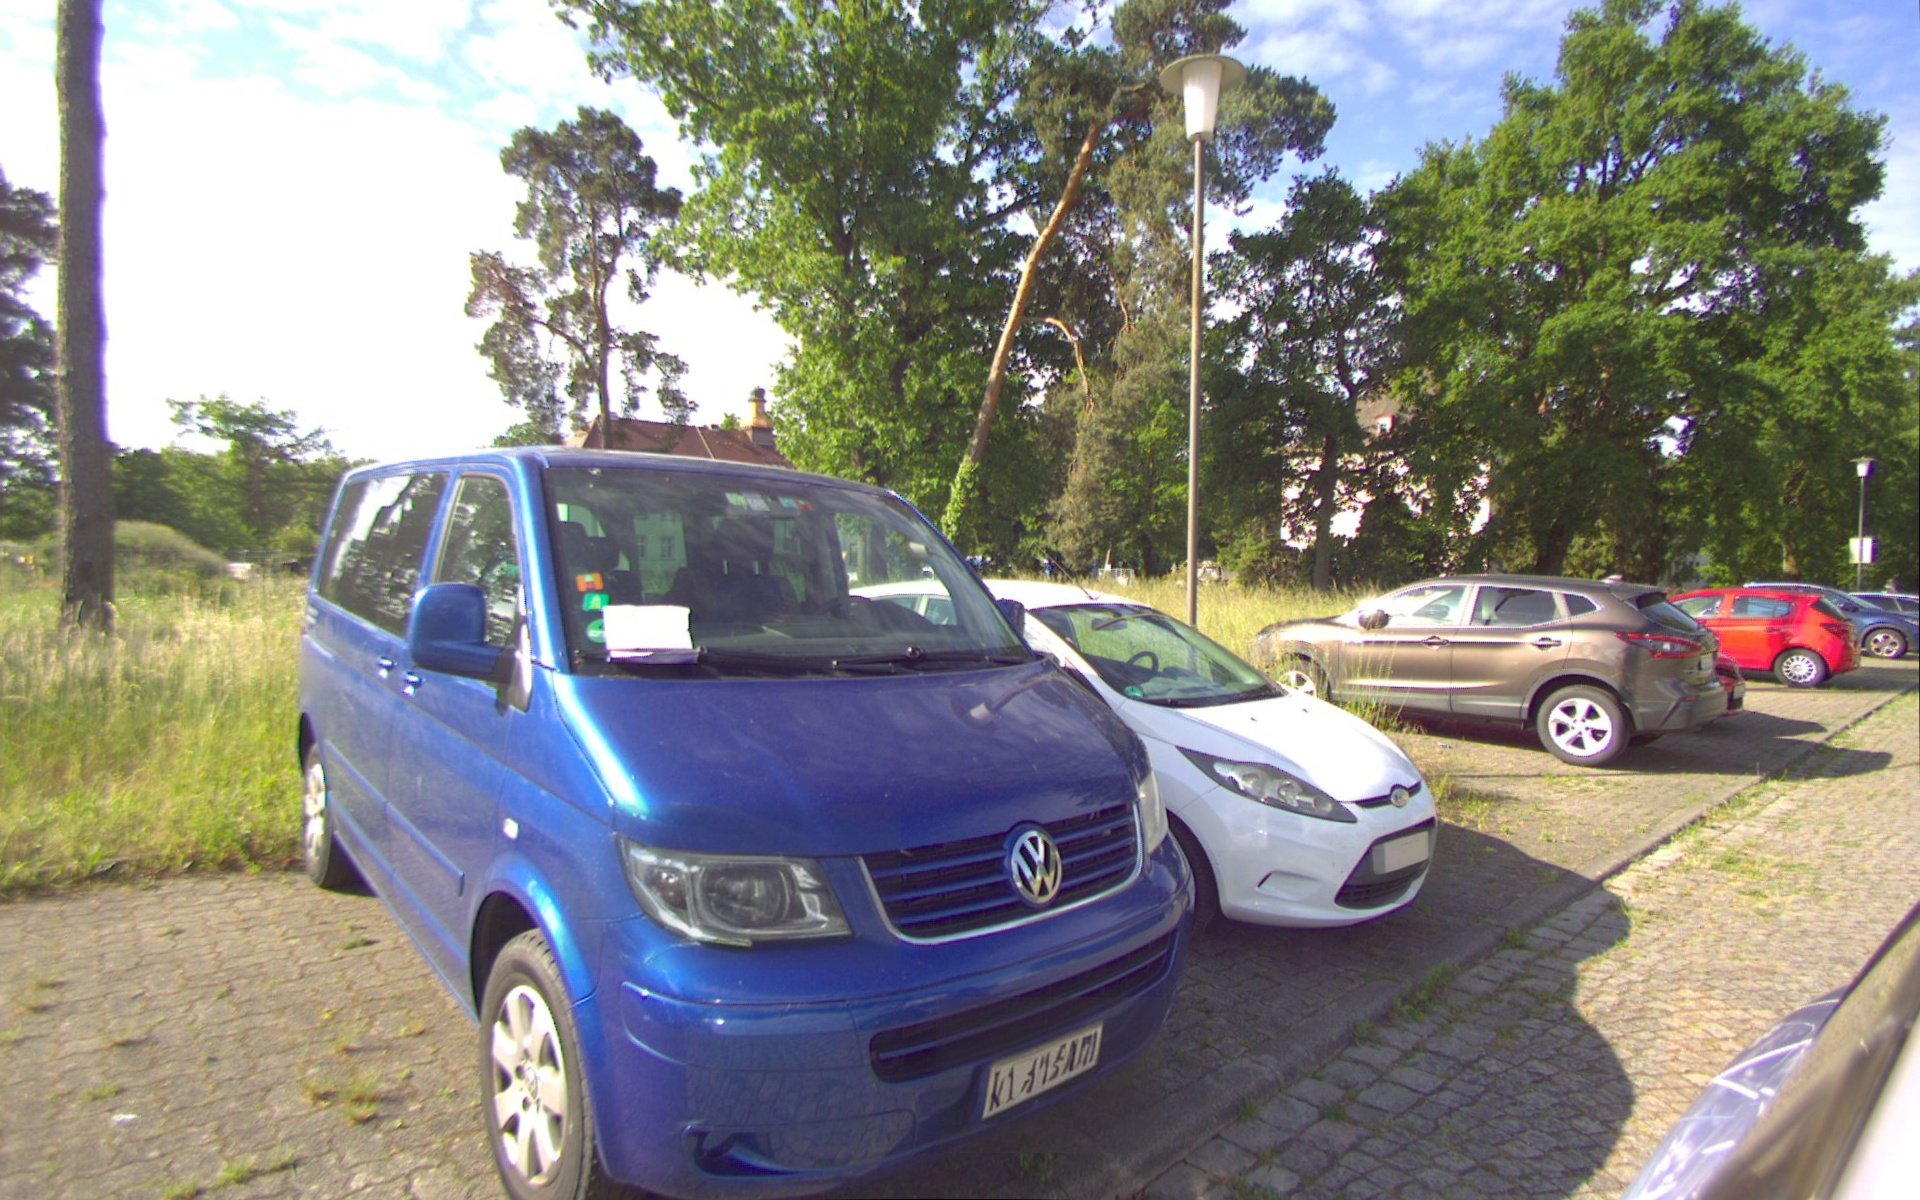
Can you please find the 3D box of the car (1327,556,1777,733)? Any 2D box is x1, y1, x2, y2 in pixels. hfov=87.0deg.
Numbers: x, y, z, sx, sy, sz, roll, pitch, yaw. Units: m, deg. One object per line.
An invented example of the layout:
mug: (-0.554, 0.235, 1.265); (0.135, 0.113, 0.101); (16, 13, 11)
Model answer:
car: (6.853, 0.346, 12.053); (1.903, 1.617, 4.231); (-1, 4, -43)

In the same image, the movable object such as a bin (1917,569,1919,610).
movable object such as a bin: (50.423, -0.476, 49.491); (1.959, 2.039, 4.881); (0, 1, -28)

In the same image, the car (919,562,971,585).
car: (-1.321, -2.372, 89.345); (4.318, 1.963, 1.905); (-2, 0, -40)

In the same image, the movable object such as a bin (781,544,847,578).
movable object such as a bin: (-15.158, -4.010, 105.232); (6.336, 3.342, 2.863); (-1, 0, 6)

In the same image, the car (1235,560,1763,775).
car: (5.100, 0.444, 10.014); (1.903, 1.617, 4.230); (-1, 3, -43)

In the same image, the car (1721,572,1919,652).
car: (20.322, 0.246, 23.366); (1.821, 1.576, 4.094); (0, 3, -42)

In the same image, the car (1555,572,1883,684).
car: (12.575, 0.365, 16.959); (1.821, 1.477, 4.094); (0, 3, -42)

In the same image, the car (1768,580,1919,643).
car: (23.832, 0.291, 26.375); (1.754, 1.440, 4.094); (0, 3, -42)

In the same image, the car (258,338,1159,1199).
car: (-1.637, 0.305, 4.517); (1.965, 1.959, 4.708); (-1, 3, -41)

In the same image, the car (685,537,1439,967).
car: (0.223, 0.465, 6.113); (1.906, 1.596, 4.406); (-1, 3, -41)
